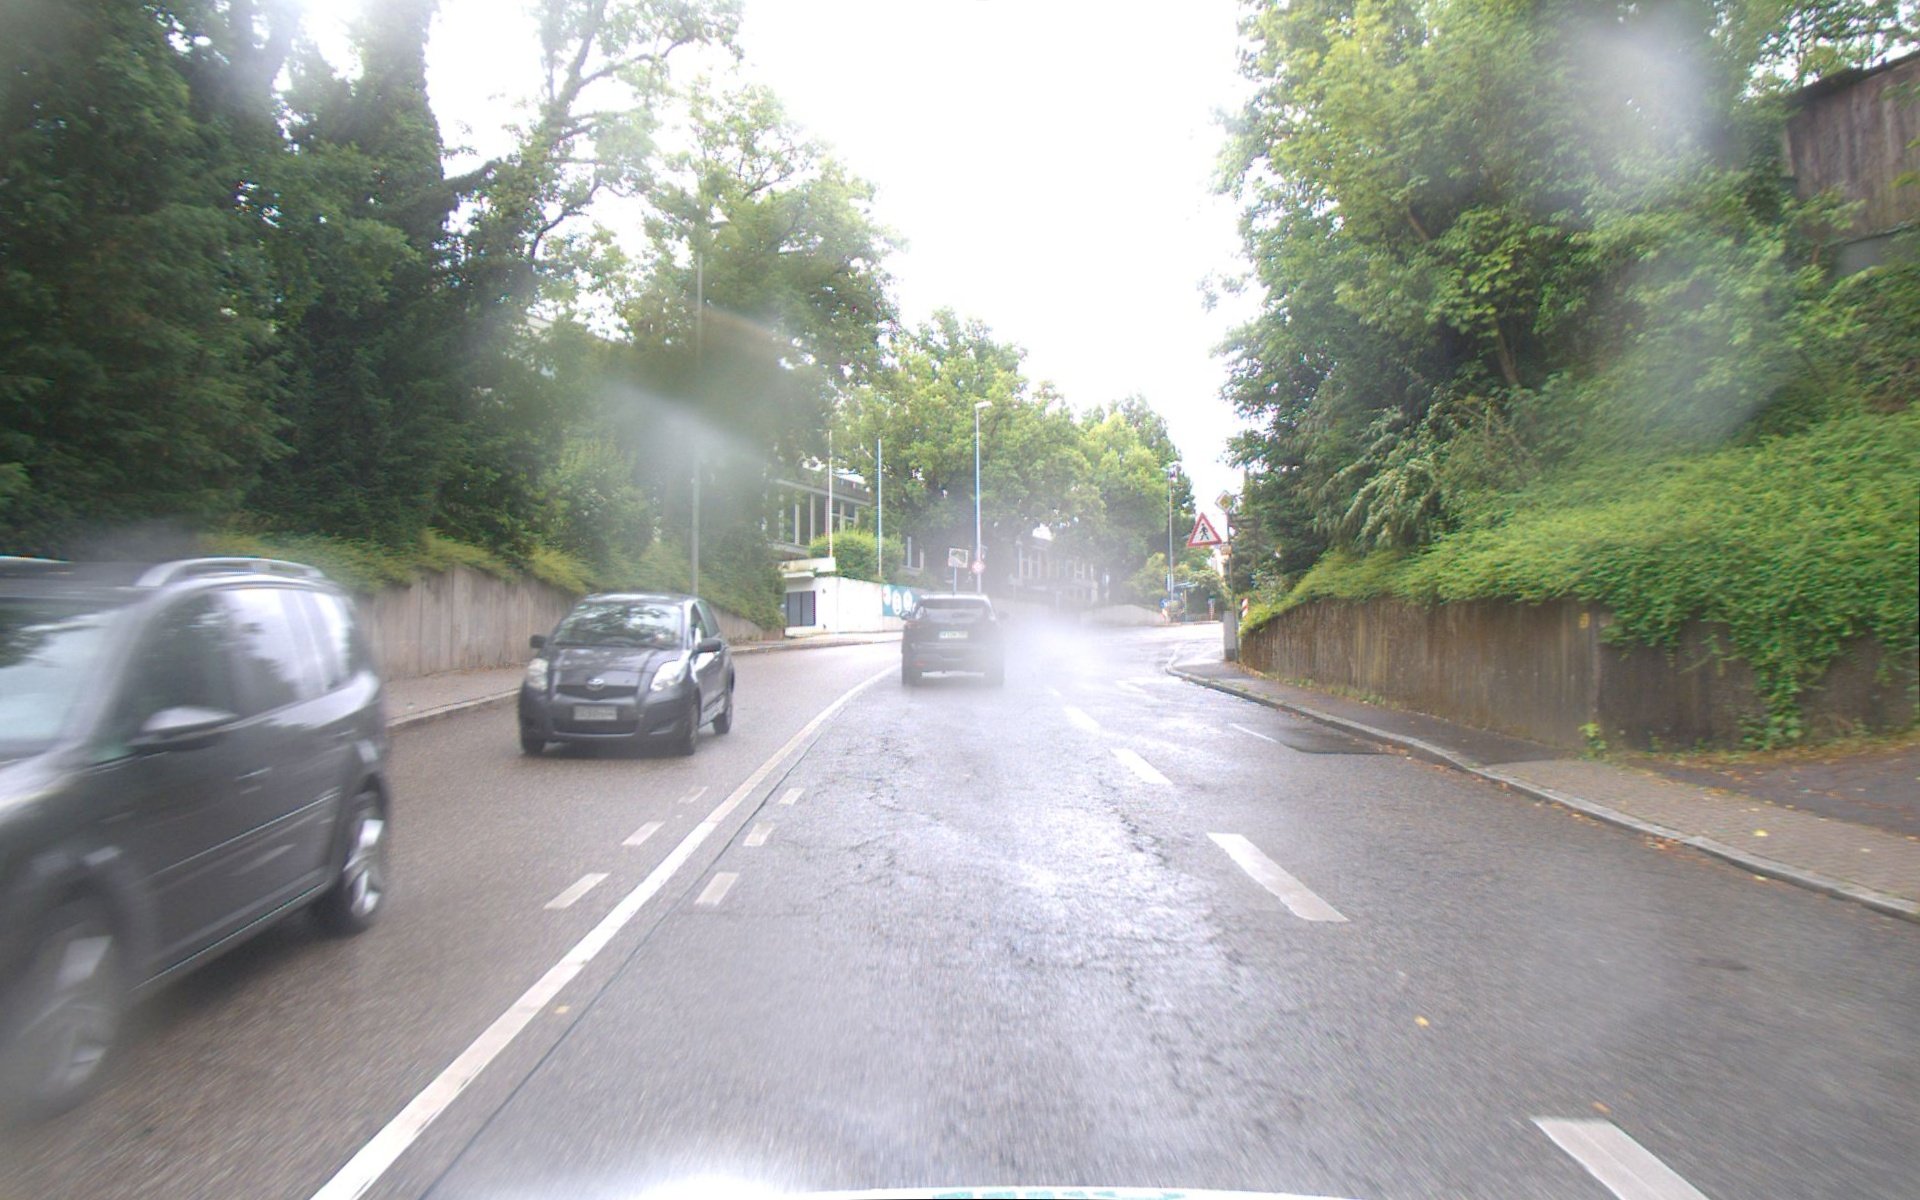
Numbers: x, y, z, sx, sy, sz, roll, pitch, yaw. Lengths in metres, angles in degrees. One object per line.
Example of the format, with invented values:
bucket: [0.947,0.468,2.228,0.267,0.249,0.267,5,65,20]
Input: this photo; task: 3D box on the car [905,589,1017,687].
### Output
car: [-0.021,0.625,29.985,1.889,1.641,3.999,0,0,-1]

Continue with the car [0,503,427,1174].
car: [-3.462,0.609,6.172,1.794,1.741,3.998,0,0,-2]

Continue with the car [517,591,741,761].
car: [-3.232,0.681,16.756,1.641,1.522,3.459,0,0,-2]
